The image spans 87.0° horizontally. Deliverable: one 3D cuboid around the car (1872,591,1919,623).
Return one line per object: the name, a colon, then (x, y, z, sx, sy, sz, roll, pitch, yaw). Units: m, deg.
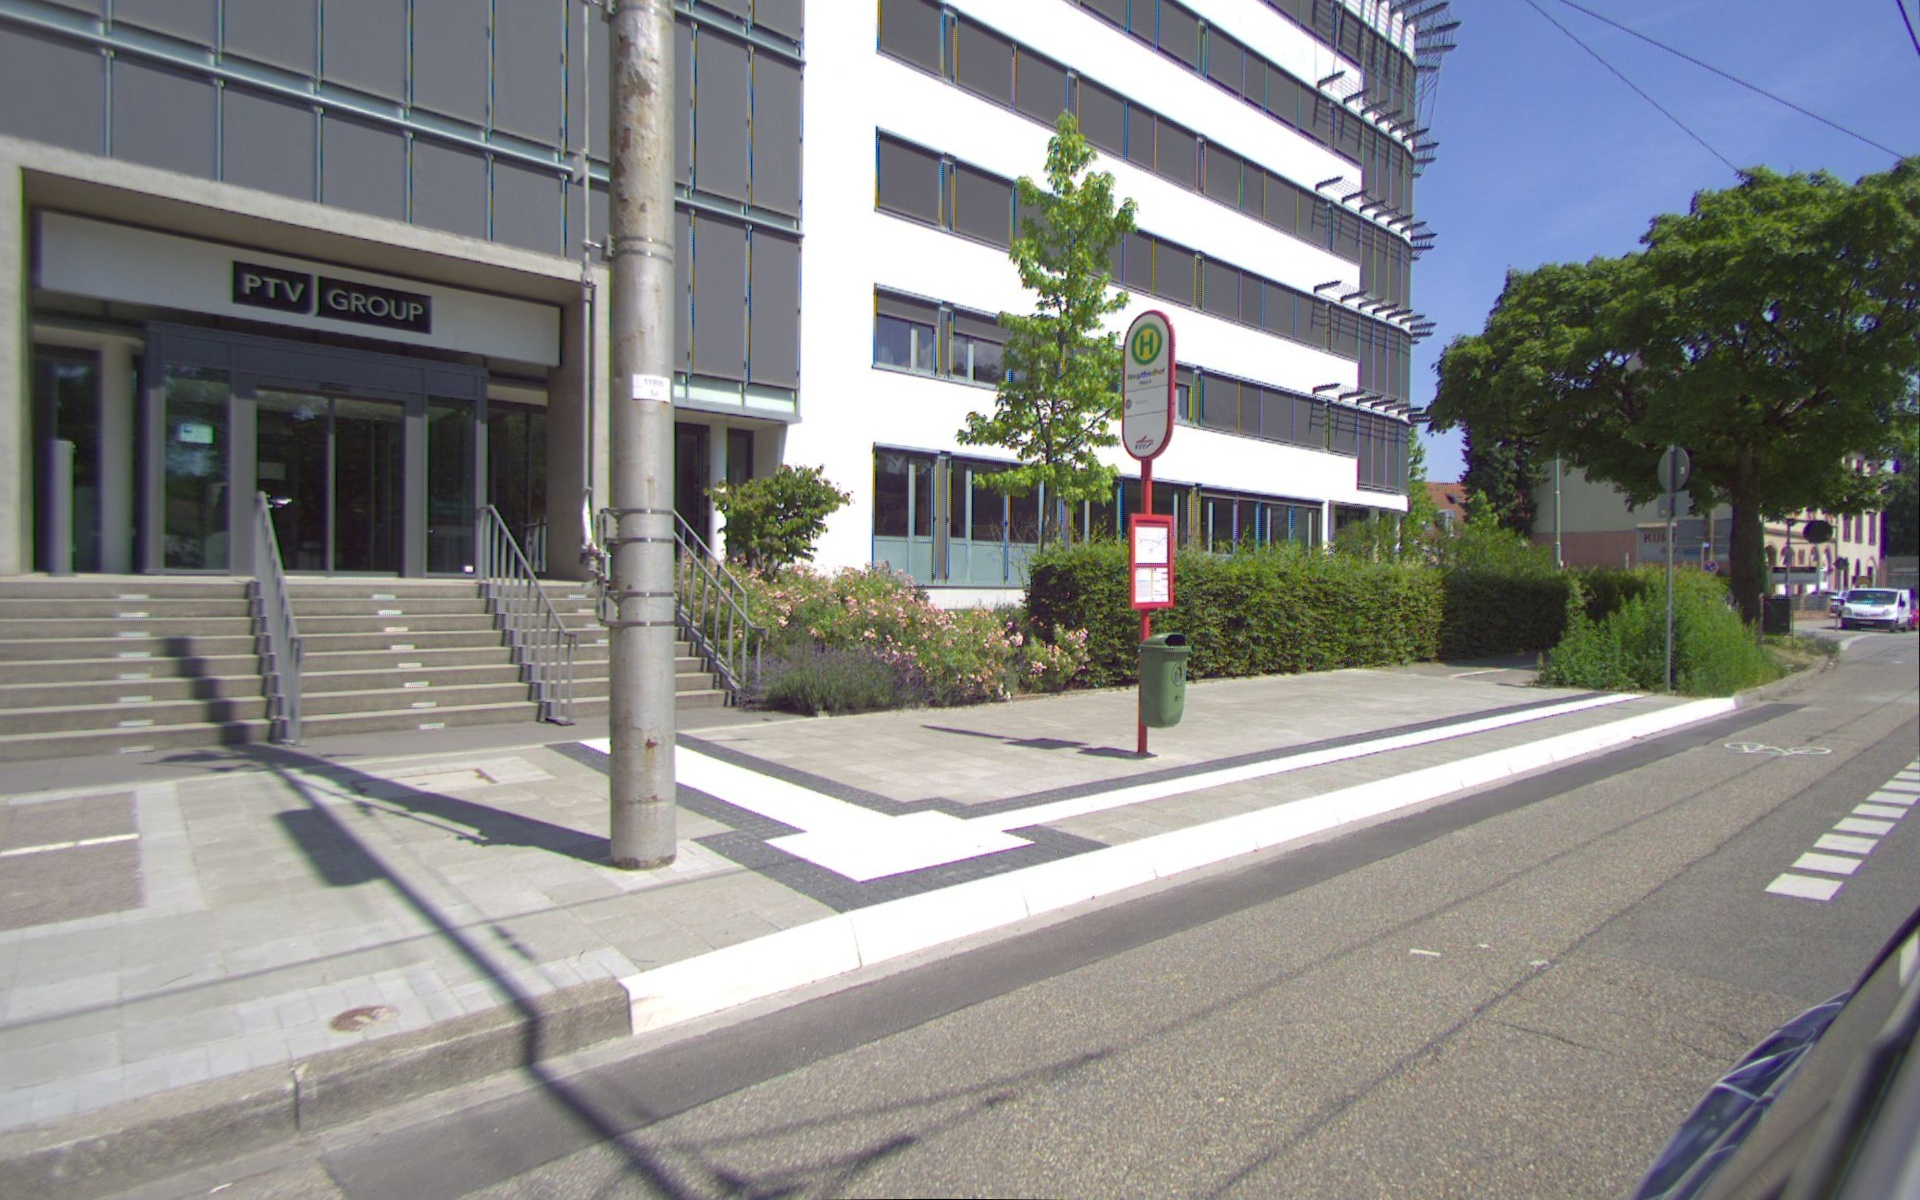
car: (45.957, 0.322, 49.114, 3.945, 1.460, 1.998, 0, 0, -40)

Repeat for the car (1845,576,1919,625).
car: (41.398, -0.005, 45.211, 5.417, 2.016, 1.998, 0, 3, -40)
